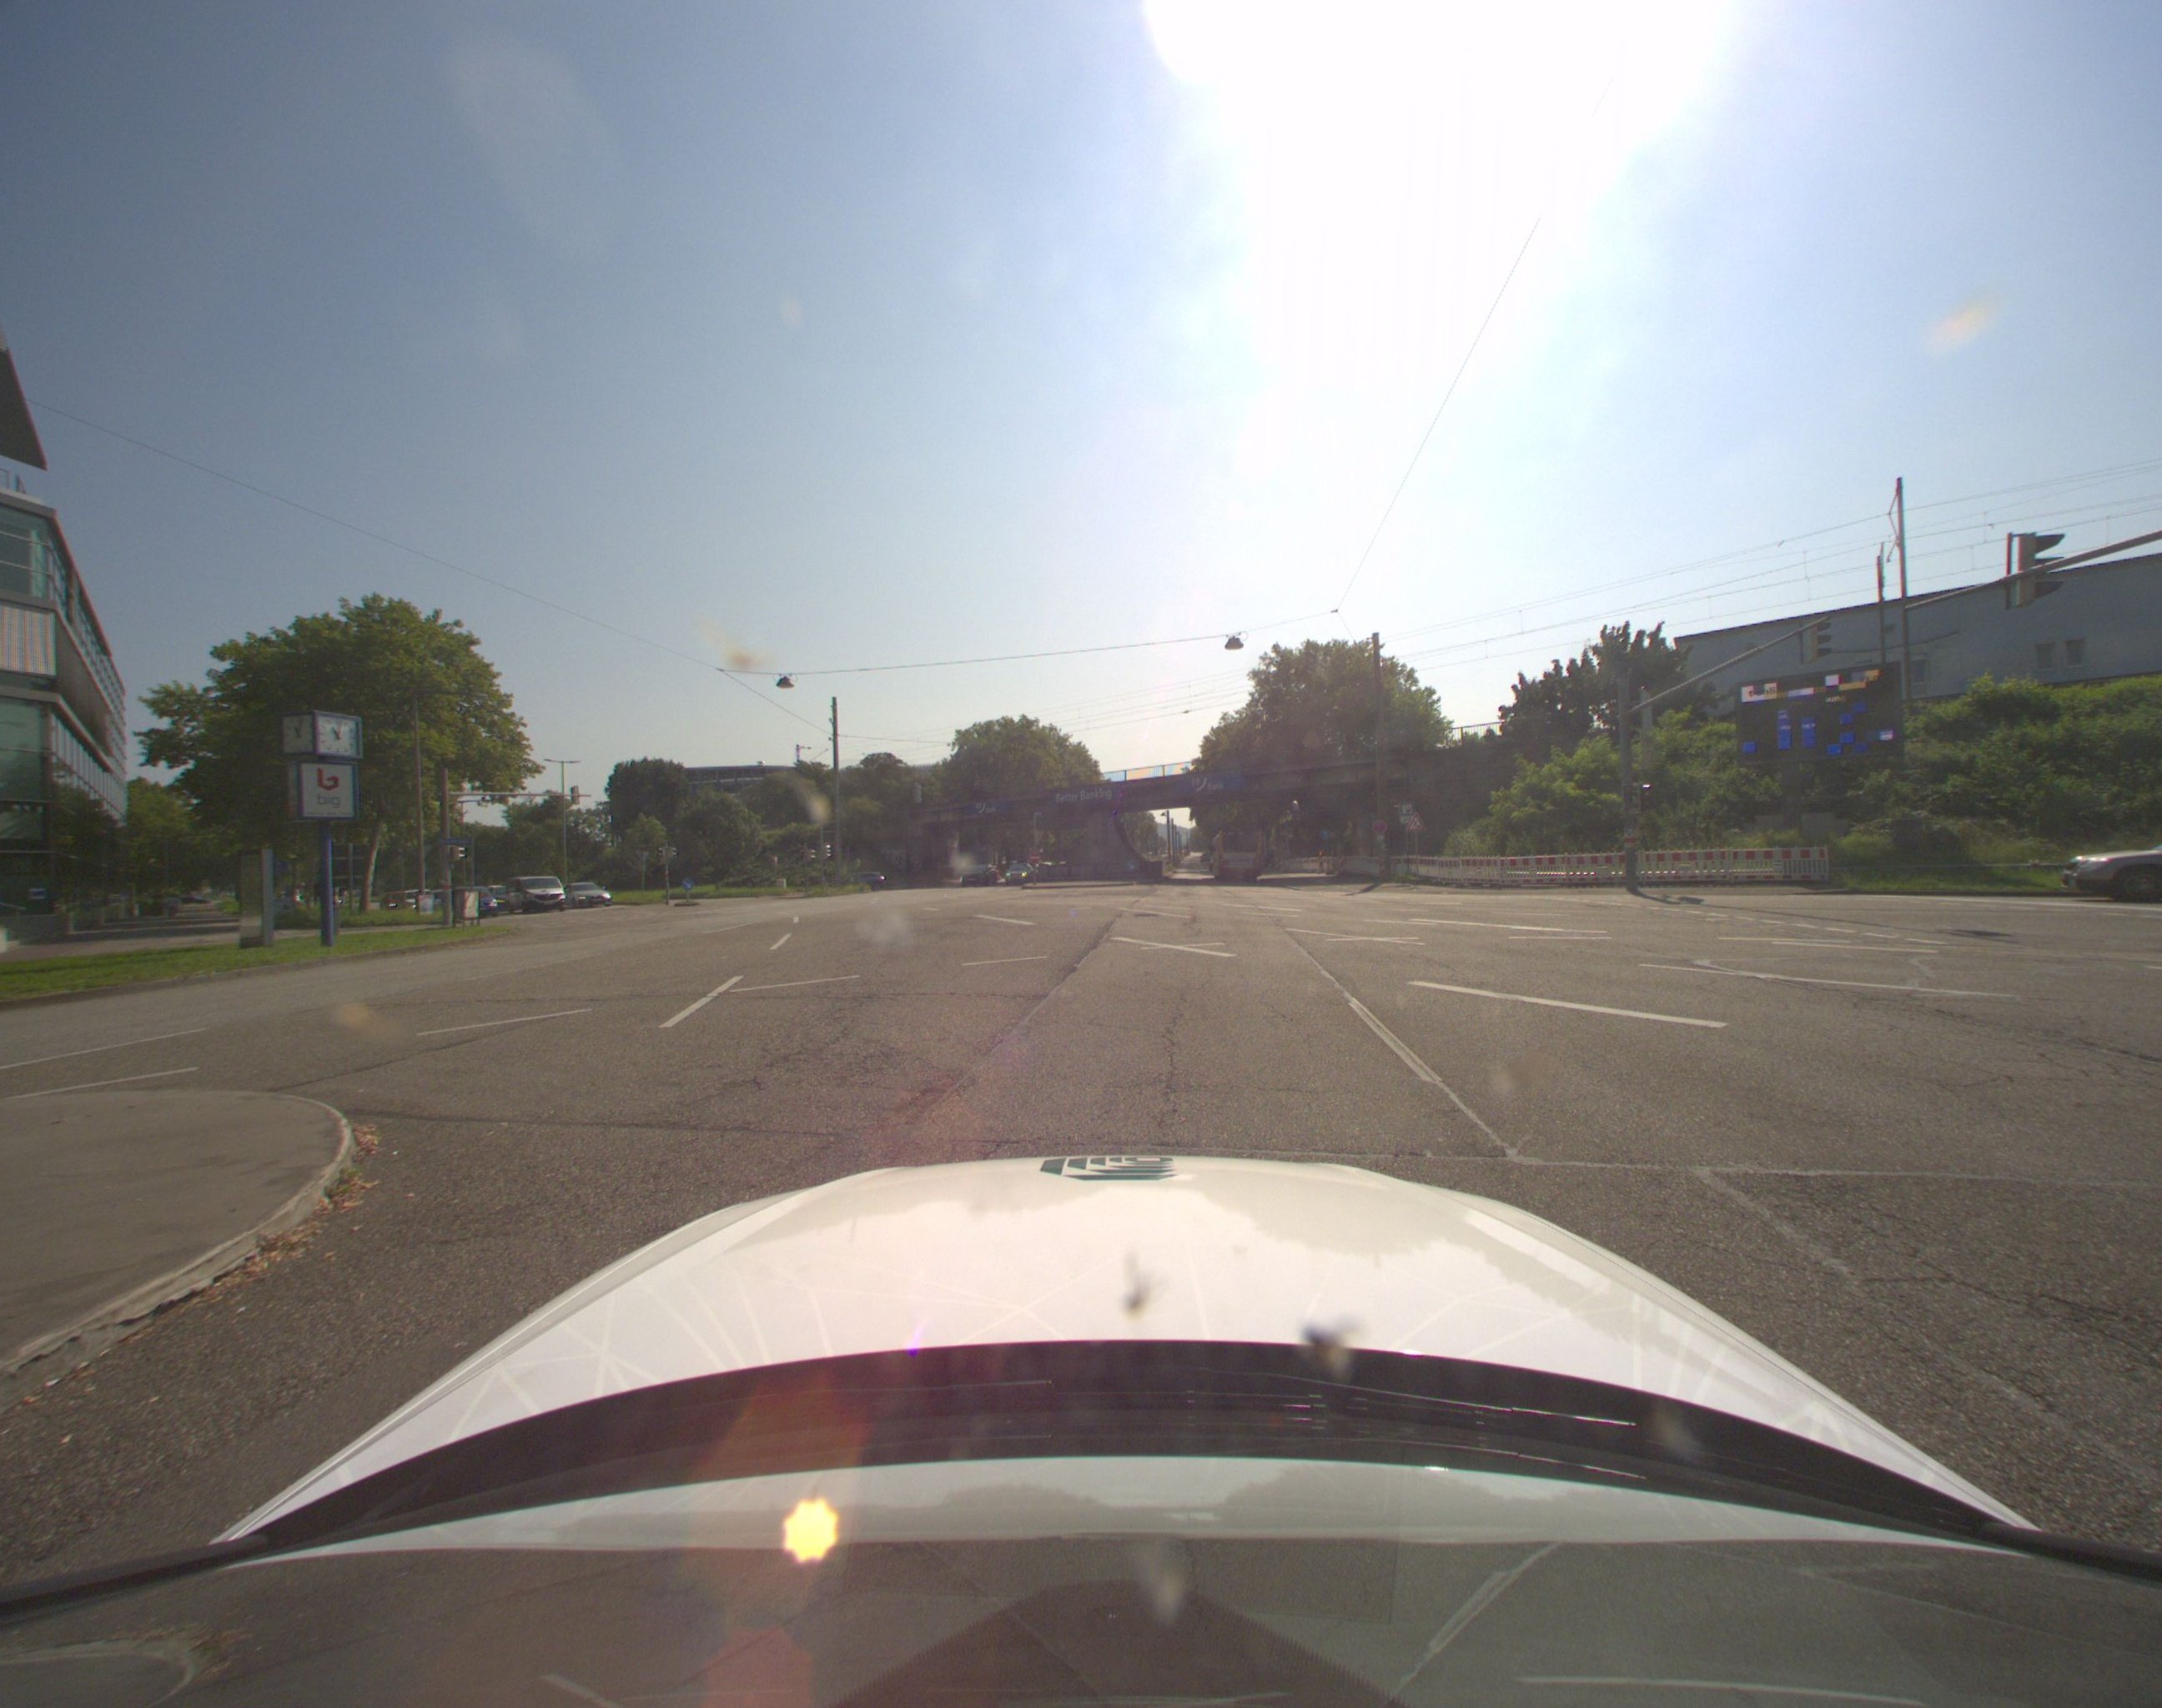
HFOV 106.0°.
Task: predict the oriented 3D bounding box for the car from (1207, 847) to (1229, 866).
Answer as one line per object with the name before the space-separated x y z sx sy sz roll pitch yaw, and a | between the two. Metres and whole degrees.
car | 14.419 0.252 85.921 1.984 2.014 4.005 0 0 5

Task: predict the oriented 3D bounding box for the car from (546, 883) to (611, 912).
car | -28.887 2.512 46.740 4.547 1.443 1.853 -3 1 41

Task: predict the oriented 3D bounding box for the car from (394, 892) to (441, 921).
car | -39.831 3.166 48.872 3.683 1.535 1.683 -4 0 44

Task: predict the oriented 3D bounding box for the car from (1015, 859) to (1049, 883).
car | -3.695 1.289 61.918 1.985 1.573 4.353 -2 1 4

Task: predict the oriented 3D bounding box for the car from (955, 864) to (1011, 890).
car | -6.977 1.614 58.504 1.885 1.617 4.499 -4 -1 23

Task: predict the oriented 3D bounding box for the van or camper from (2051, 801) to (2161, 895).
van or camper | 21.734 -0.104 15.428 4.122 1.776 1.863 0 -1 43

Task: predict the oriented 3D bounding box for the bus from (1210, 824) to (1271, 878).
bus | 10.338 -0.143 53.984 3.117 3.113 12.315 -2 -1 8

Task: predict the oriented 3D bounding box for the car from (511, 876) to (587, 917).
car | -27.653 2.178 42.289 5.146 1.958 1.945 -2 0 41

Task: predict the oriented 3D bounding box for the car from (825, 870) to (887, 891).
car | -16.459 1.910 59.693 4.015 1.428 1.768 0 0 -33

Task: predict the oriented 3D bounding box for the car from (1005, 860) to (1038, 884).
car | -4.177 1.271 57.252 1.713 1.538 3.700 -3 -1 4

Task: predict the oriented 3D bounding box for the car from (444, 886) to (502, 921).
car | -30.396 2.418 40.675 3.683 1.535 1.683 -2 1 44
